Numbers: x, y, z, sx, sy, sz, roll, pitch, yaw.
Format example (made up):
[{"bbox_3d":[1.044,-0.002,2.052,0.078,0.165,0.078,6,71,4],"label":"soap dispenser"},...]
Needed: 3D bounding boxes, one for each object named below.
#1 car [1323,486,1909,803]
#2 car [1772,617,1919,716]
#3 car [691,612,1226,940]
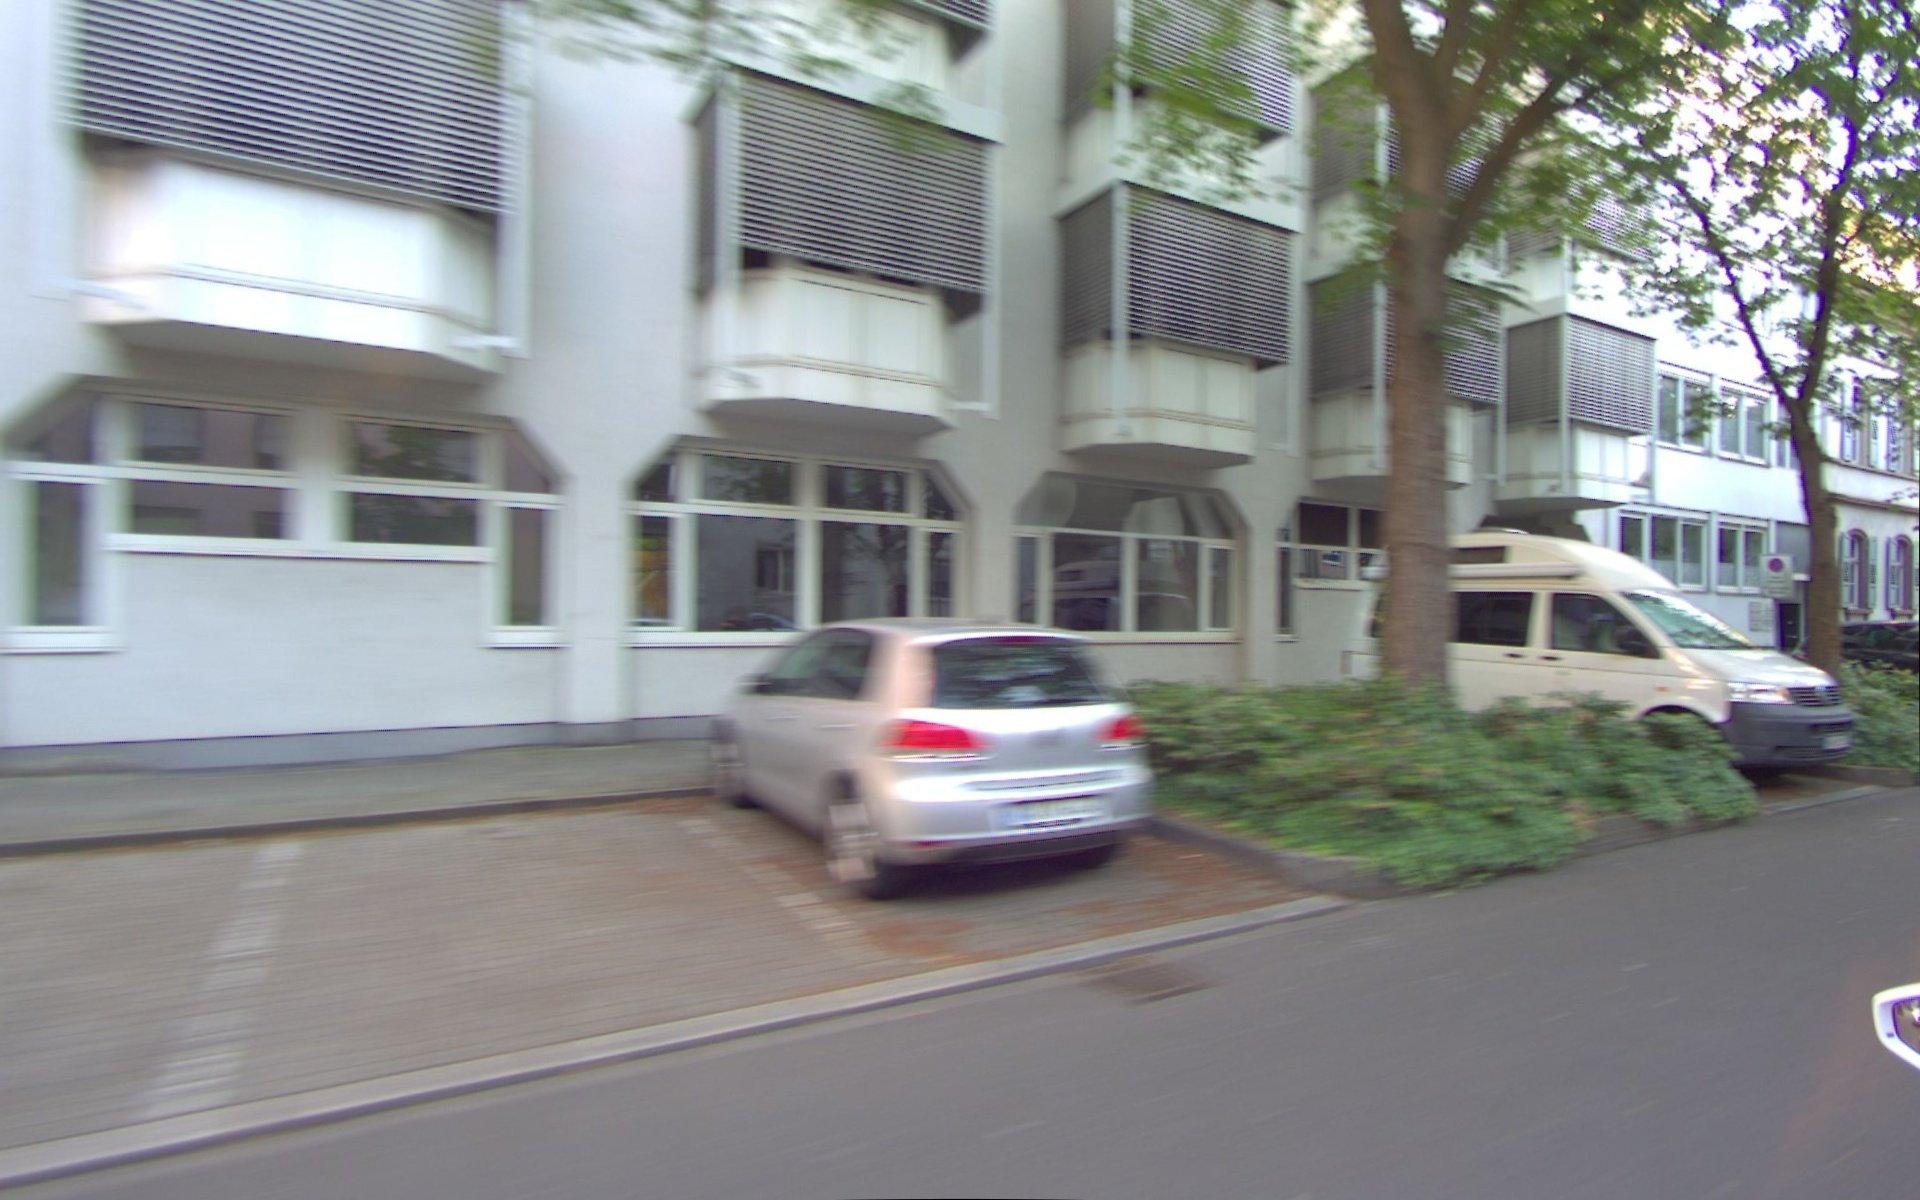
[{"bbox_3d":[6.687,0.401,10.971,2.096,2.607,4.980,1,-1,-30],"label":"car"},{"bbox_3d":[17.261,1.149,17.176,2.134,1.643,4.832,1,-1,-29],"label":"car"},{"bbox_3d":[-0.365,0.846,6.895,1.929,1.488,4.150,1,-1,-29],"label":"car"}]
